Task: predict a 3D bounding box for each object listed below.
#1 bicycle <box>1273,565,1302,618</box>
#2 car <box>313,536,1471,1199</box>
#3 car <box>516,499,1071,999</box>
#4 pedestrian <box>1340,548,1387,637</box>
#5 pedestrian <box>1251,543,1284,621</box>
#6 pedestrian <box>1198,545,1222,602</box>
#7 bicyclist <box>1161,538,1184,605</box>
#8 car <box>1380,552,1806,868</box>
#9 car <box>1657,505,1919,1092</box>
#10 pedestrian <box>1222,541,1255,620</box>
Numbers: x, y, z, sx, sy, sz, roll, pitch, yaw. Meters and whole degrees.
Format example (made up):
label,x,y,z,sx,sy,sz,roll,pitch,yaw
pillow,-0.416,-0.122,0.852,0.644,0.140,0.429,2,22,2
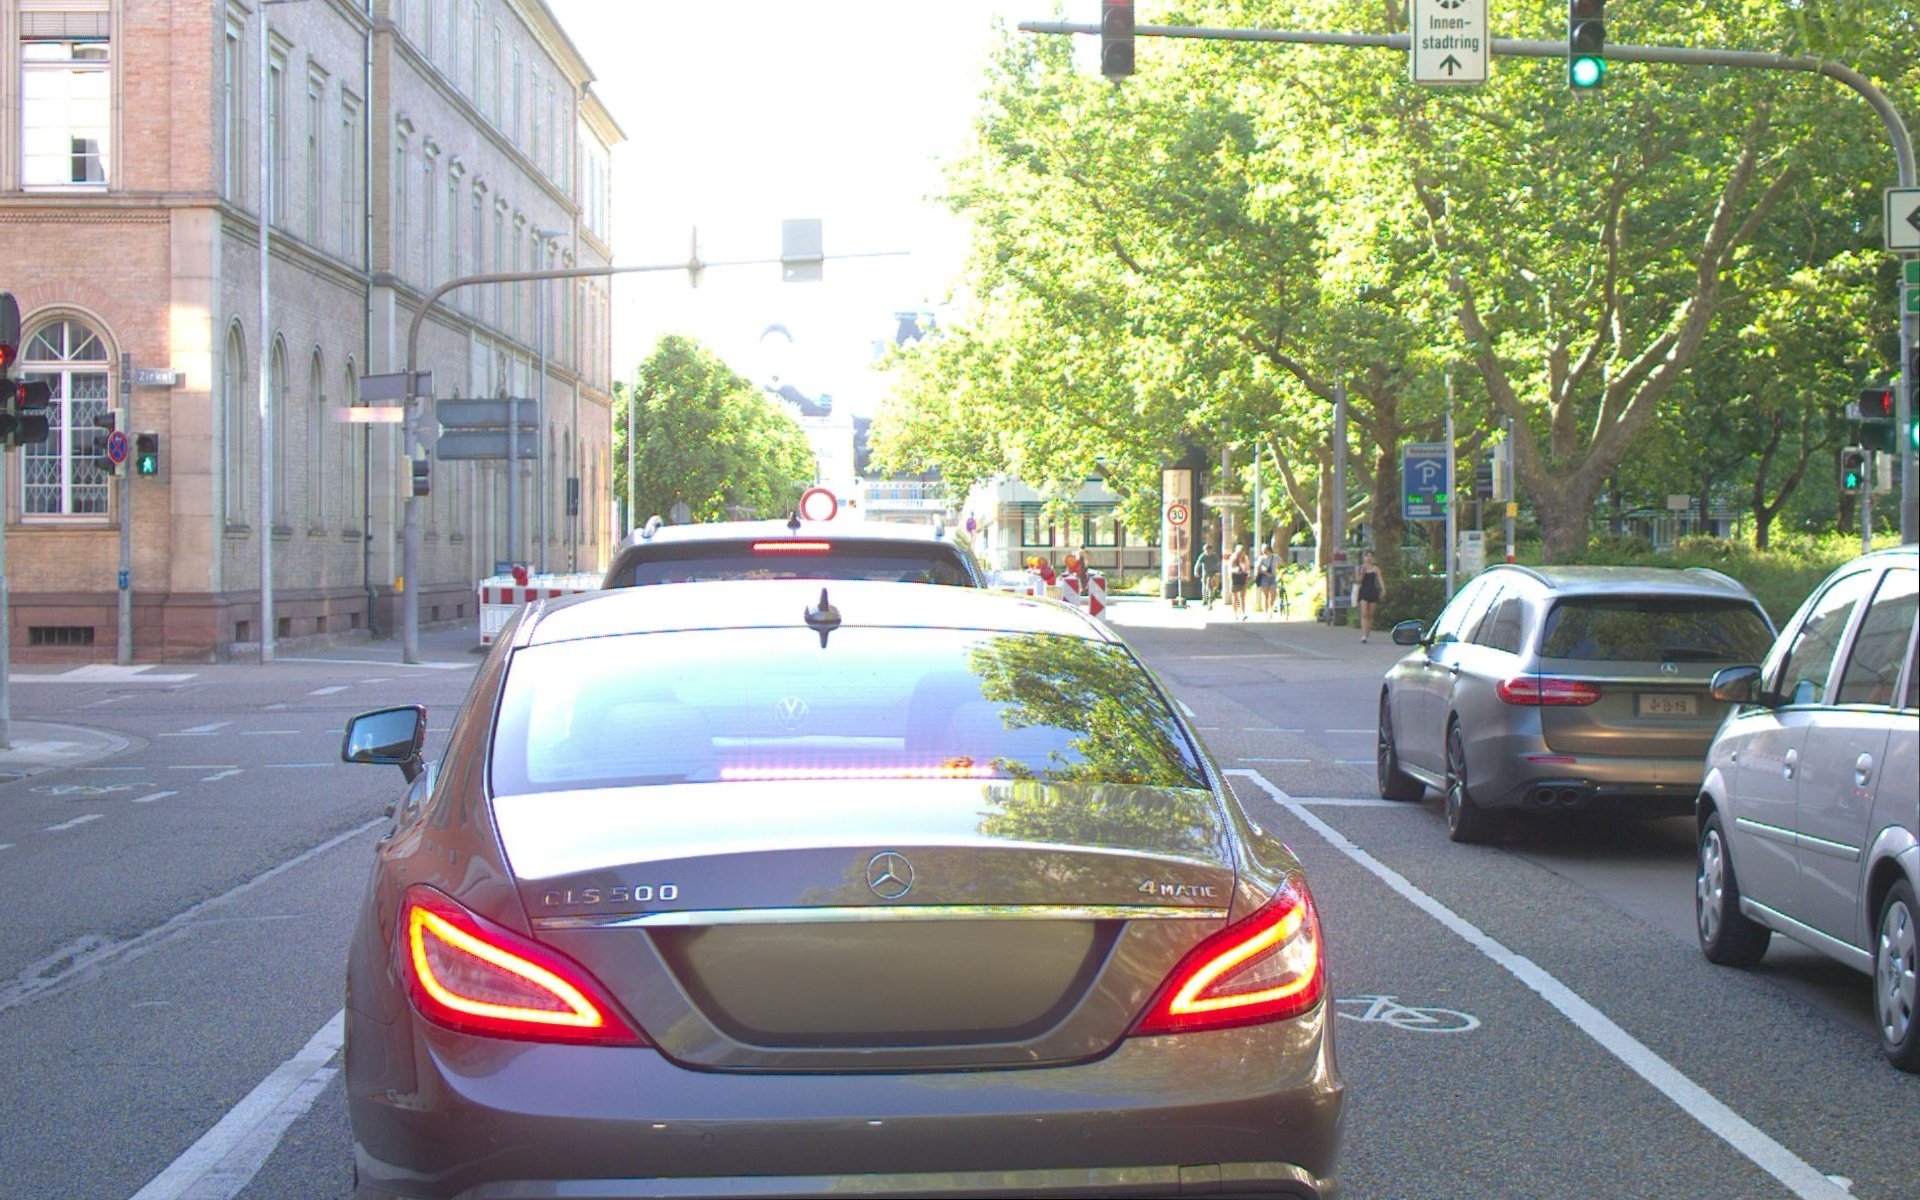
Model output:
label,x,y,z,sx,sy,sz,roll,pitch,yaw
bicycle,7.455,-0.201,78.255,0.482,1.198,1.606,1,1,-1
car,-0.366,0.627,7.500,1.861,1.514,4.001,0,1,-8
car,-0.587,0.472,13.630,1.861,1.677,4.000,0,1,-1
pedestrian,7.106,-0.137,60.608,0.635,1.540,0.910,1,0,-4
pedestrian,7.033,-0.417,78.625,0.635,1.754,0.699,1,0,-4
pedestrian,6.633,-0.716,91.233,0.555,1.504,0.346,1,0,-4
bicyclist,6.476,-0.856,104.984,0.594,2.032,0.566,1,0,-4
car,3.359,0.526,18.870,1.601,1.543,3.681,1,1,-1
car,3.565,0.554,11.310,1.731,1.656,3.681,1,1,-1
pedestrian,6.372,-0.451,78.647,0.635,1.791,0.699,1,0,-4
